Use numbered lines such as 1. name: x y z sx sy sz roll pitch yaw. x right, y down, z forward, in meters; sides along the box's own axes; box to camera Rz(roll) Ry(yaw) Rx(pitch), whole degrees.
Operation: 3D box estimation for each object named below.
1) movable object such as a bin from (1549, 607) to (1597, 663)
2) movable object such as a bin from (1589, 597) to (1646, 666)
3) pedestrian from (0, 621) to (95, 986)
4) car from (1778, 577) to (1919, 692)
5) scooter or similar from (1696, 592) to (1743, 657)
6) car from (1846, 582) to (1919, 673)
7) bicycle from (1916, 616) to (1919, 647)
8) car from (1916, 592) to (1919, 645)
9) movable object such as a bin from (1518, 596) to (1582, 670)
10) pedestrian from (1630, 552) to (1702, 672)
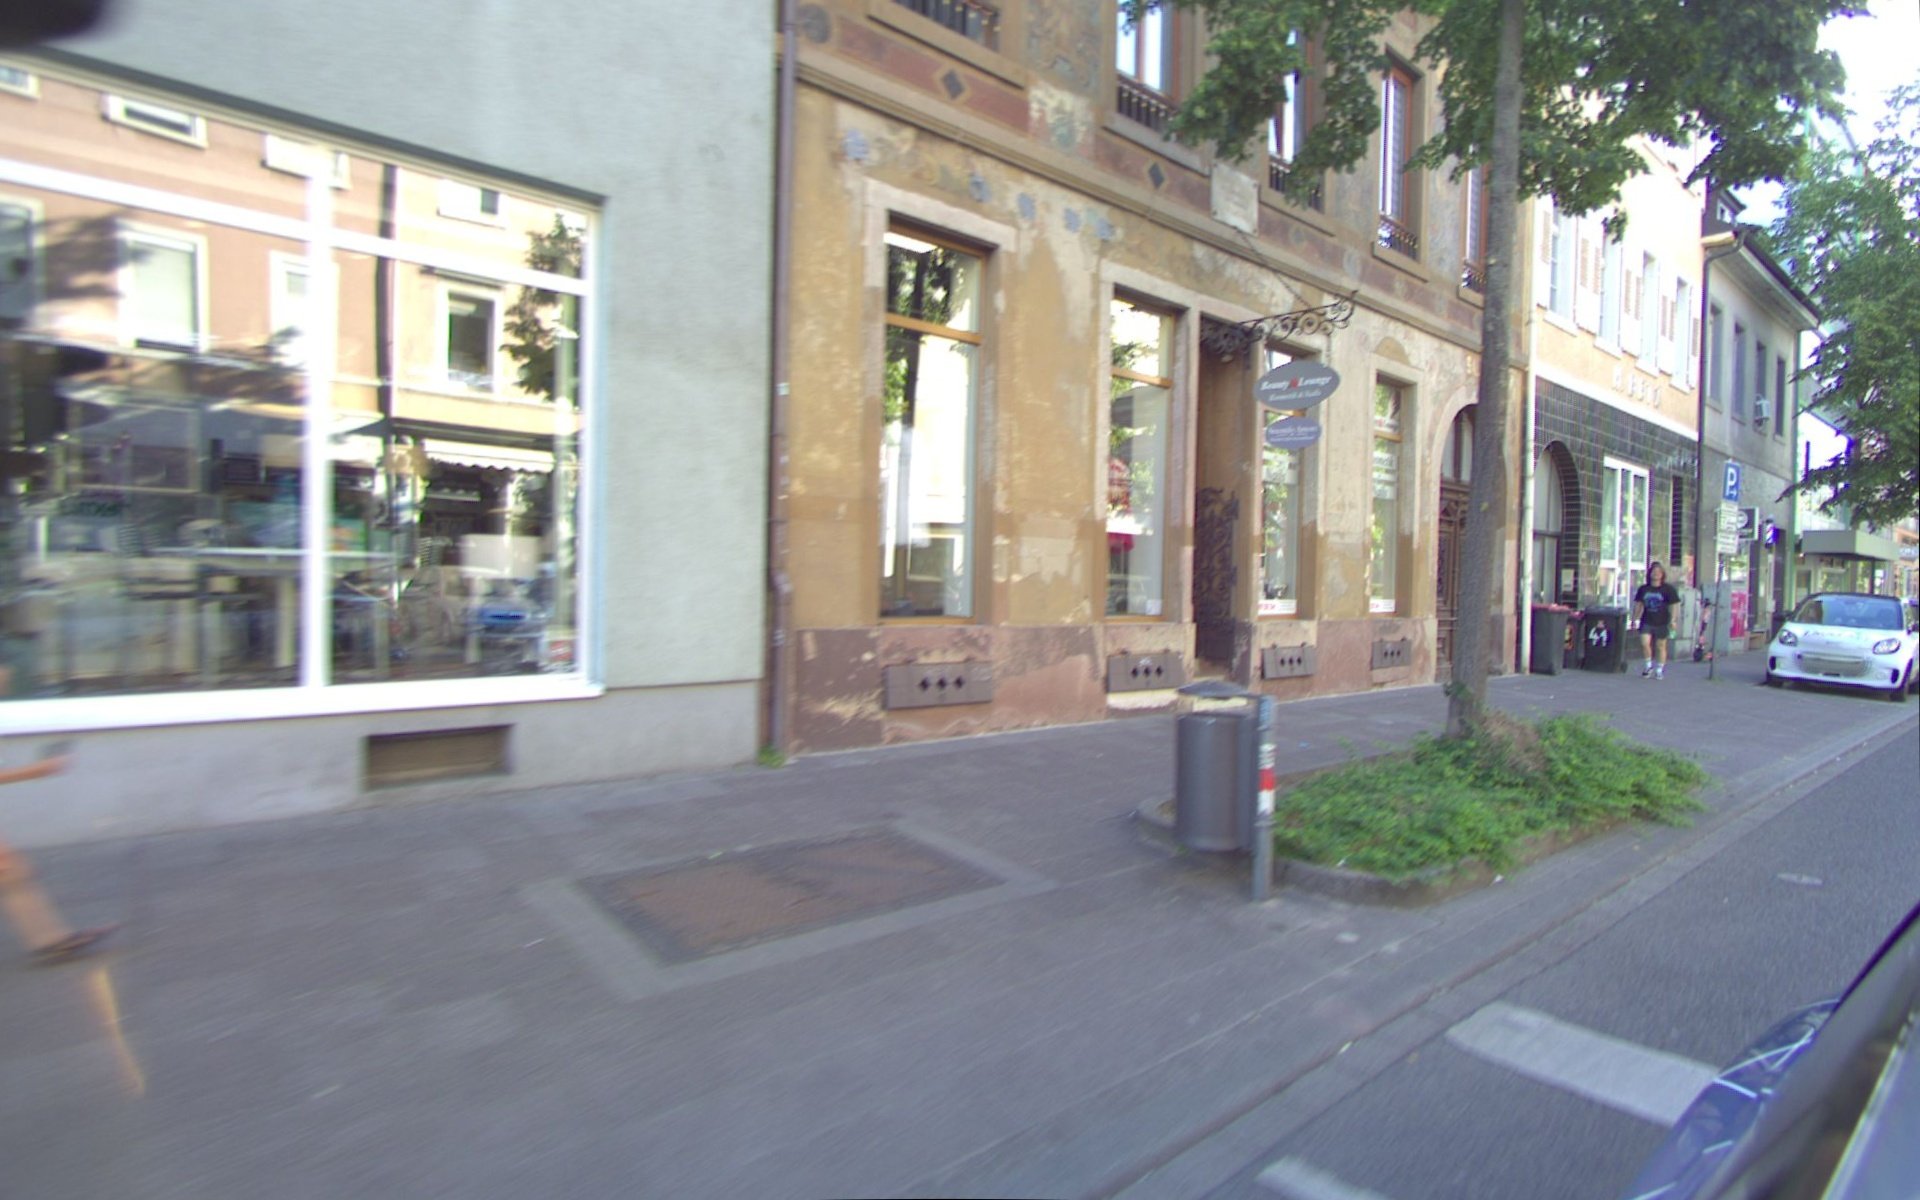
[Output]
1. movable object such as a bin: 10.033 0.570 16.566 0.470 0.871 0.512 1 1 -39
2. movable object such as a bin: 10.560 0.497 16.256 0.709 1.052 0.523 0 3 -40
3. pedestrian: -3.069 0.608 3.024 0.727 1.045 0.394 0 4 -42
4. car: 14.220 0.477 15.884 3.008 1.547 1.617 0 3 -42
5. scooter or similar: 14.716 0.470 19.597 1.147 1.201 0.400 0 3 -40
6. car: 18.558 0.518 19.520 4.161 1.547 1.617 0 5 -42
7. bicycle: 25.309 0.769 25.518 0.601 1.024 1.626 1 6 -42
8. car: 27.438 0.471 27.366 4.160 1.545 1.887 0 4 -42
9. movable object such as a bin: 9.000 0.493 15.439 0.709 1.052 0.590 0 3 -40
10. pedestrian: 10.929 0.177 15.672 0.757 1.786 0.624 1 3 -40
